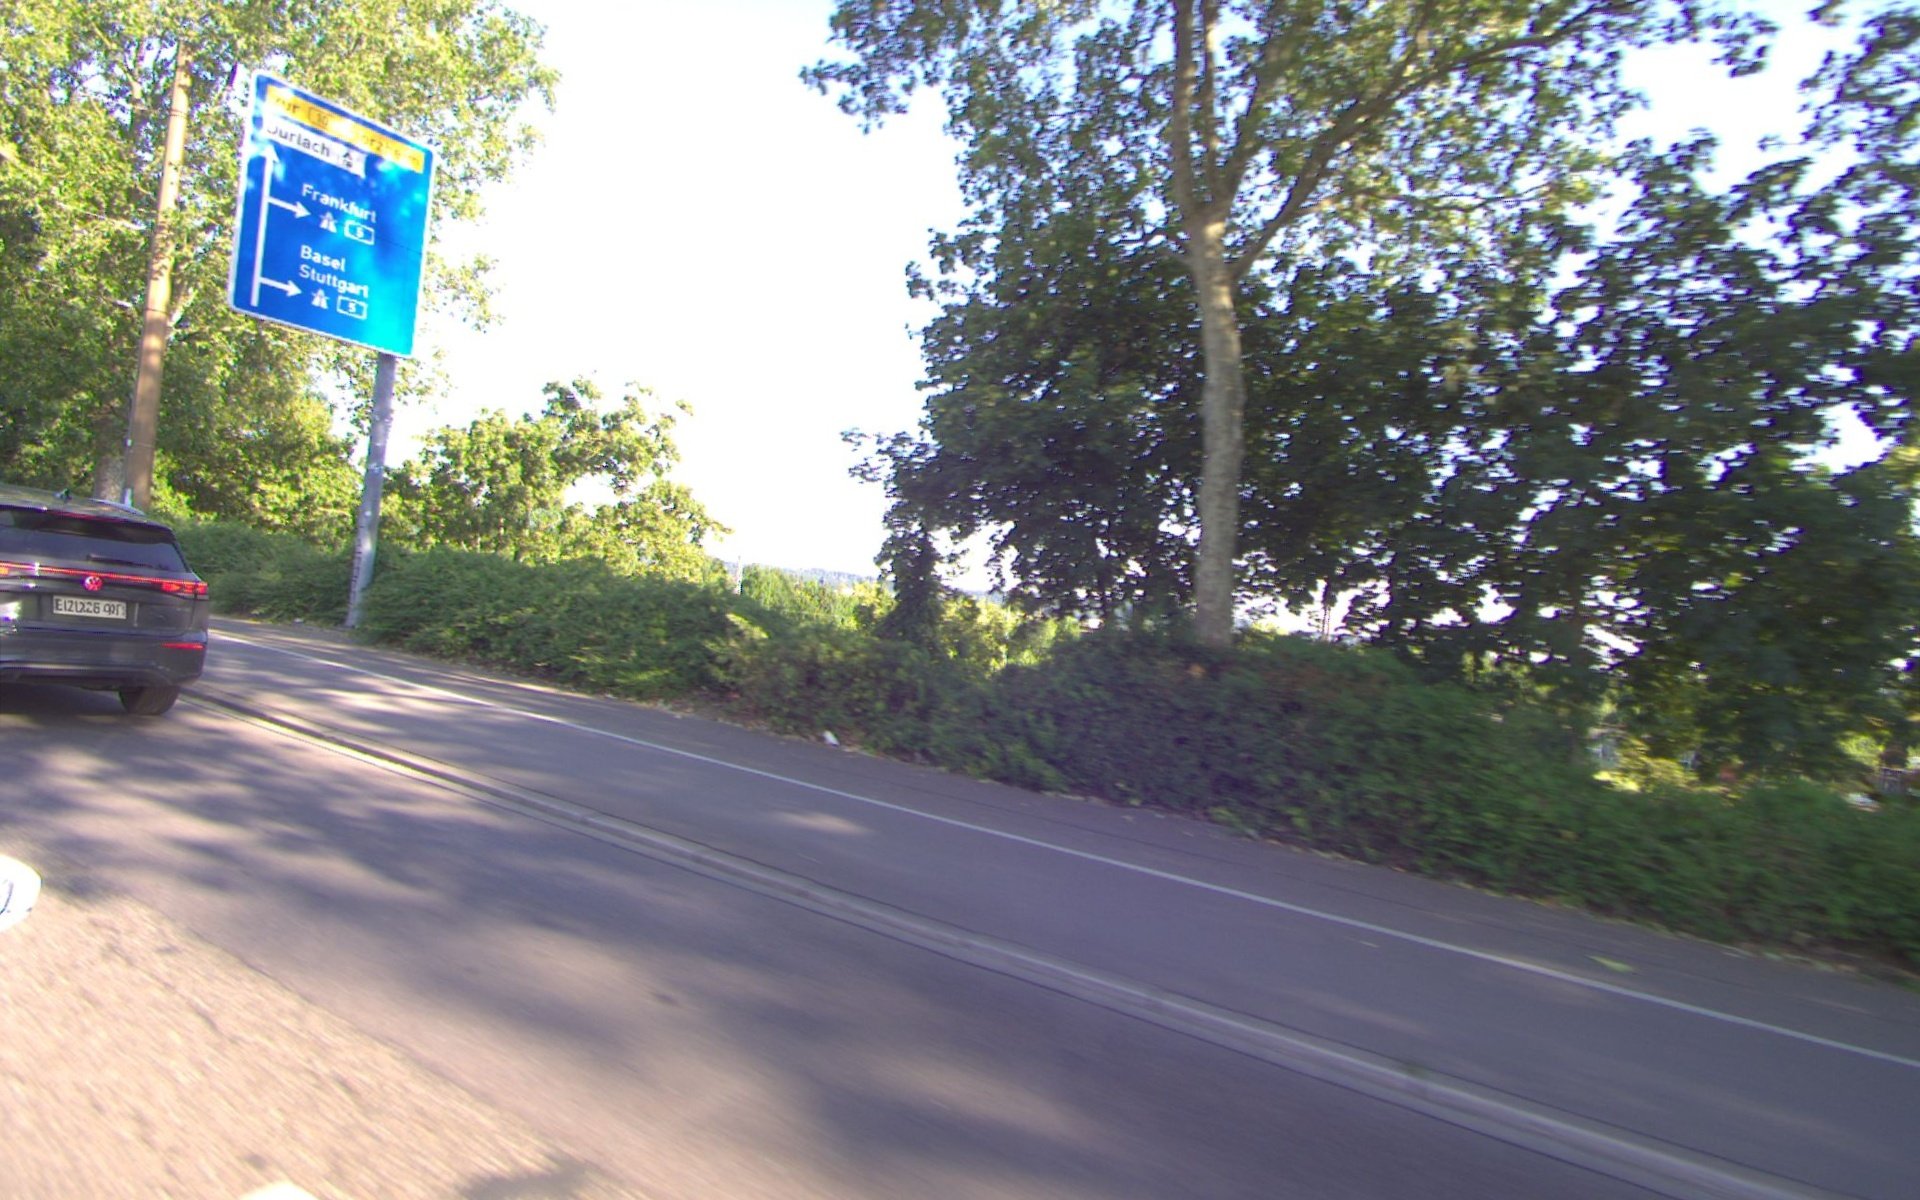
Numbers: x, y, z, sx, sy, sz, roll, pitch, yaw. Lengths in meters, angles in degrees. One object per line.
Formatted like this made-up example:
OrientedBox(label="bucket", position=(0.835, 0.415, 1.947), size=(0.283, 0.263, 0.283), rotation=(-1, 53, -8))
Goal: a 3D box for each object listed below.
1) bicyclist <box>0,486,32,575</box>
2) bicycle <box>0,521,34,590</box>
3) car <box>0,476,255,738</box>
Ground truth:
OrientedBox(label="bicyclist", position=(-17.308, -1.279, 18.008), size=(0.876, 1.526, 0.687), rotation=(7, -1, 31))
OrientedBox(label="bicycle", position=(-17.352, -0.845, 17.994), size=(1.783, 1.134, 0.623), rotation=(6, 0, 31))
OrientedBox(label="car", position=(-7.803, -0.093, 8.015), size=(4.366, 1.680, 1.848), rotation=(6, -3, 32))
